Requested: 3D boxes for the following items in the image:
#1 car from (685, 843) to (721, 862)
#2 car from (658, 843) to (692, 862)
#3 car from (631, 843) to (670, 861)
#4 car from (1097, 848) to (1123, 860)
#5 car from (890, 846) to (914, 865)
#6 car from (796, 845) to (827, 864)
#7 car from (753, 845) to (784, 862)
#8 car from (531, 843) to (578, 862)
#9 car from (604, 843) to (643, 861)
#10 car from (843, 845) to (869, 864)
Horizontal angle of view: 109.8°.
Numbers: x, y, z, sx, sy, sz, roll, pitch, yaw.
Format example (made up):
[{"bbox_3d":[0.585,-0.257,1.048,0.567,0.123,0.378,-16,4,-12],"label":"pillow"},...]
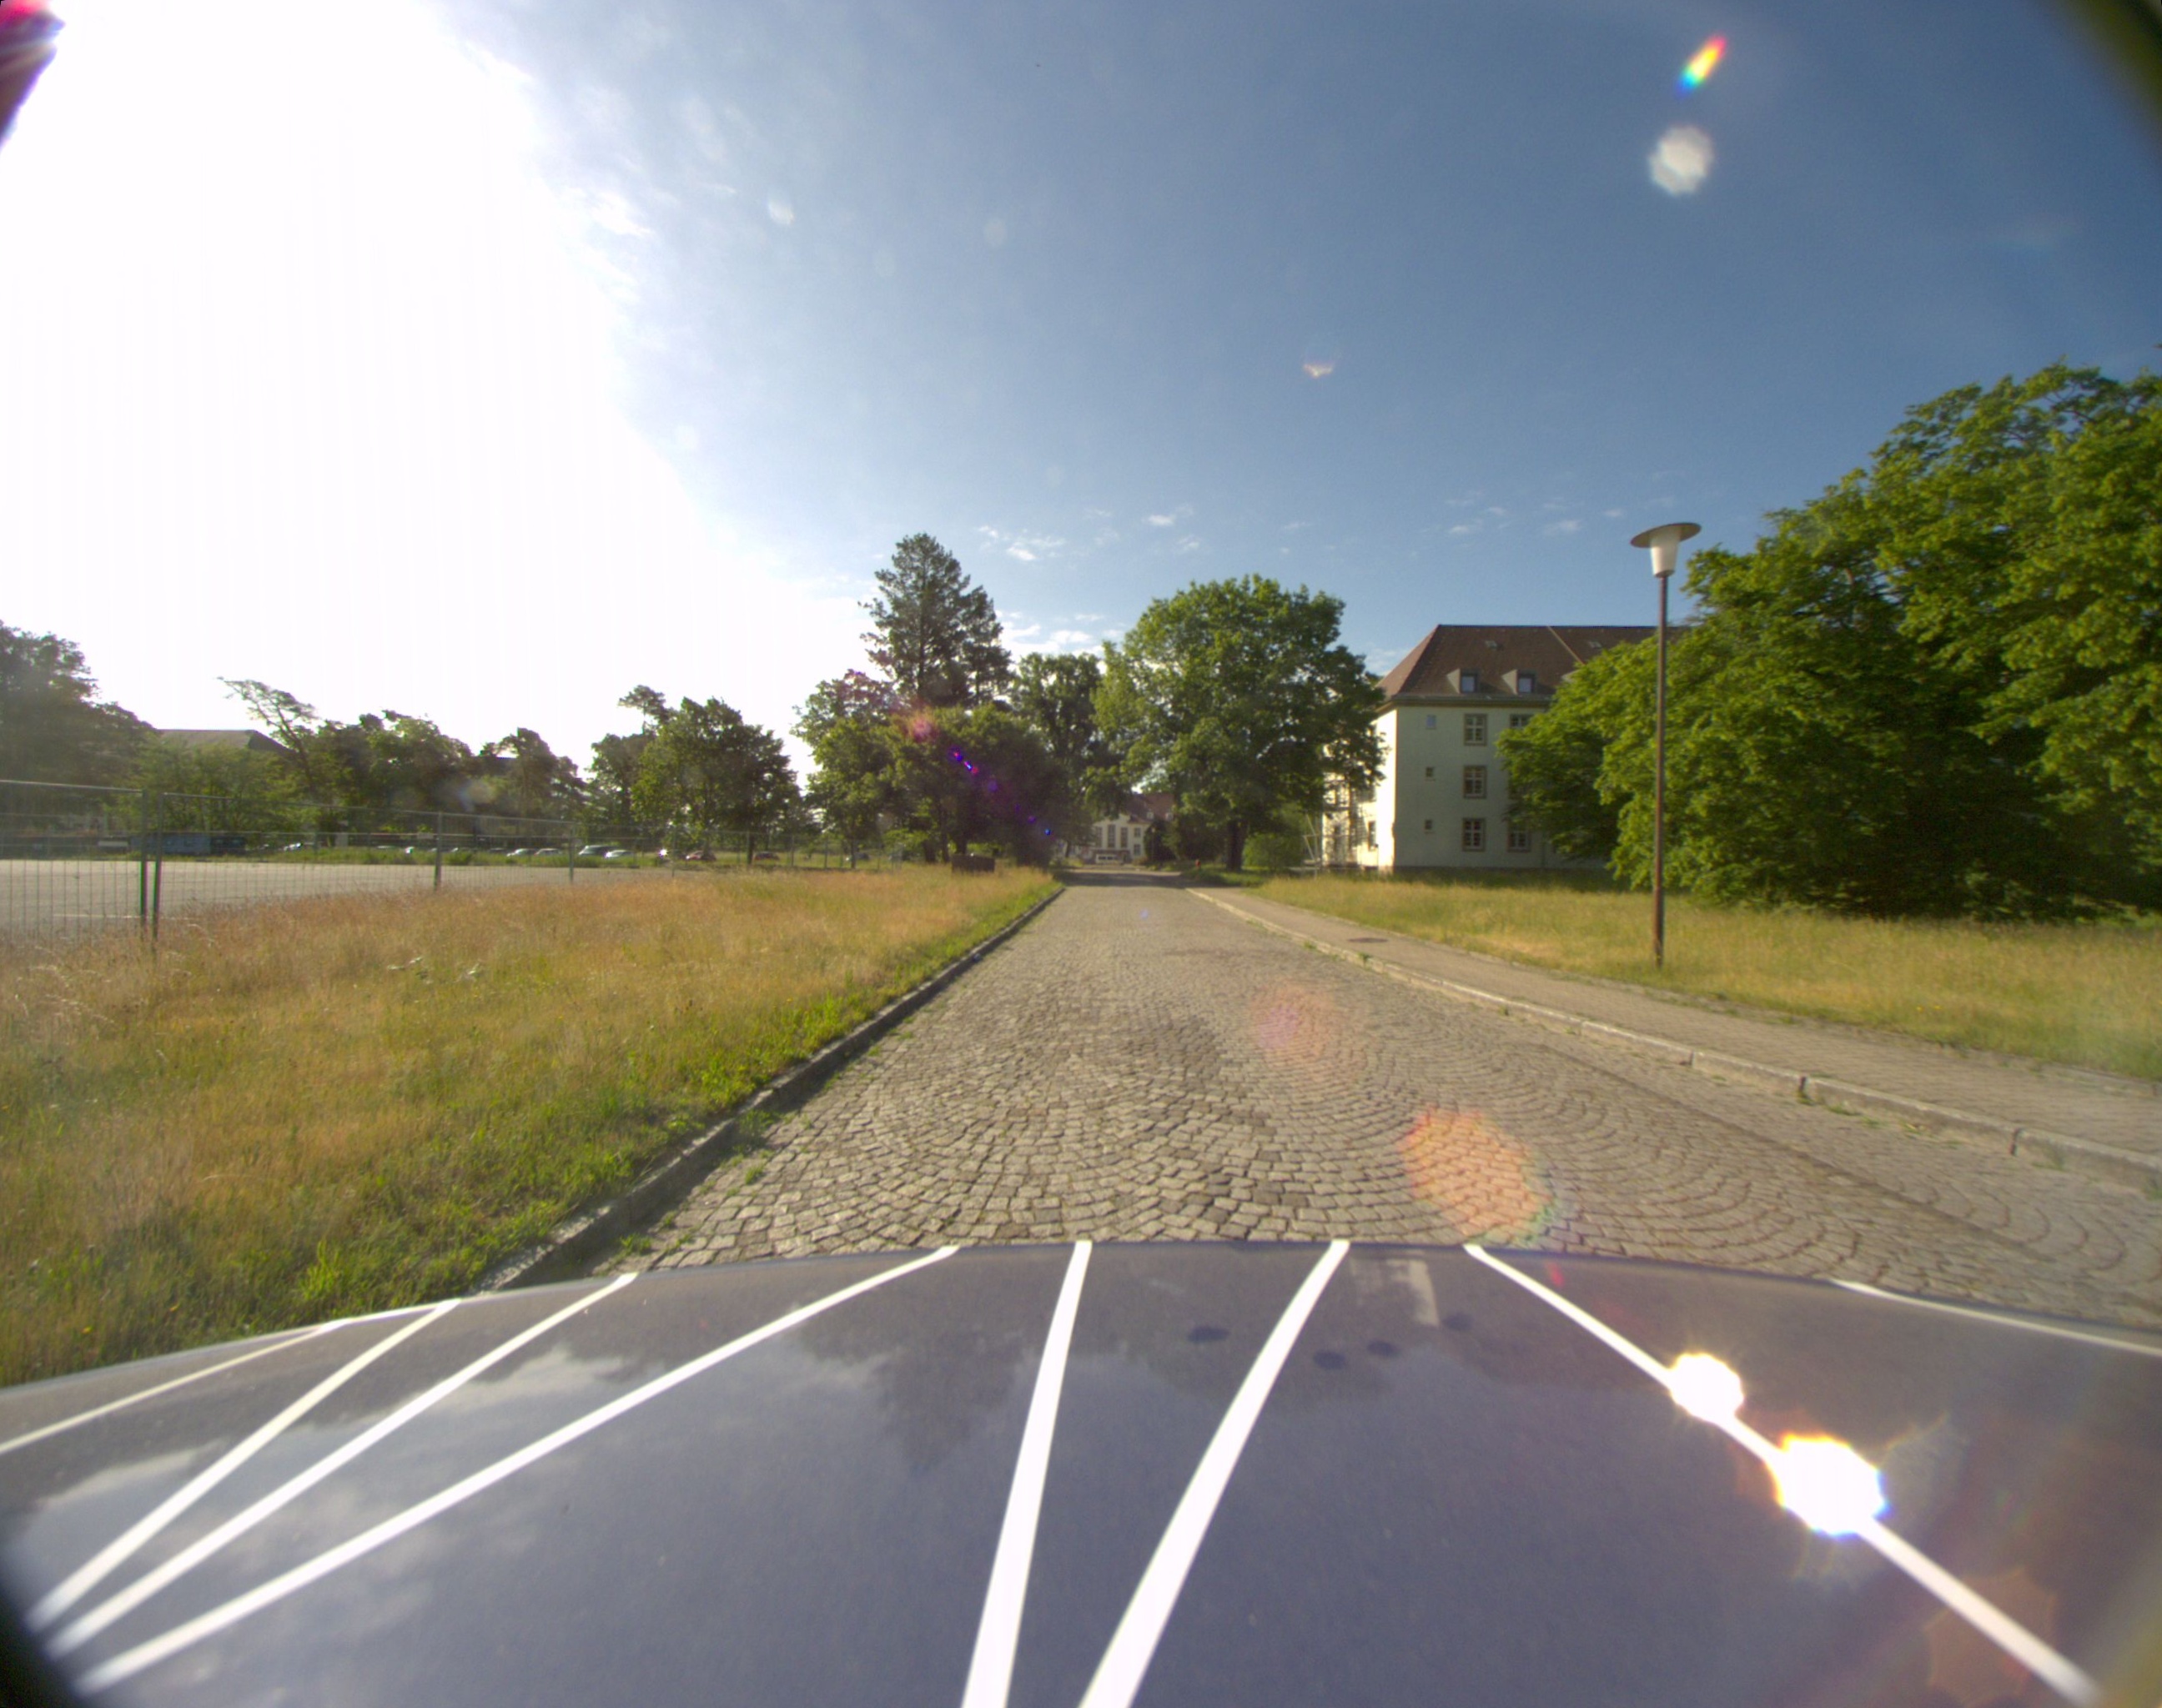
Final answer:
[{"bbox_3d":[-42.045,-0.144,84.547,1.998,2.002,4.000,1,0,0],"label":"car"},{"bbox_3d":[-45.009,-0.159,84.322,2.000,2.002,3.997,1,0,-6],"label":"car"},{"bbox_3d":[-48.683,-0.249,86.041,1.998,2.002,4.000,1,0,2],"label":"car"},{"bbox_3d":[5.503,0.012,144.962,4.869,2.083,2.000,1,1,2],"label":"car"},{"bbox_3d":[-19.581,0.137,83.280,1.999,2.002,3.998,1,0,-5],"label":"car"},{"bbox_3d":[-29.932,0.039,84.471,1.999,2.002,3.999,1,0,-1],"label":"car"},{"bbox_3d":[-34.584,-0.102,84.232,1.999,1.805,3.998,1,0,-5],"label":"car"},{"bbox_3d":[-58.919,-0.159,85.134,1.997,2.002,4.002,-2,1,9],"label":"car"},{"bbox_3d":[-51.126,-0.230,84.976,1.999,1.936,3.999,1,0,0],"label":"car"},{"bbox_3d":[-24.748,0.048,83.675,1.999,2.002,3.998,1,0,-5],"label":"car"}]
